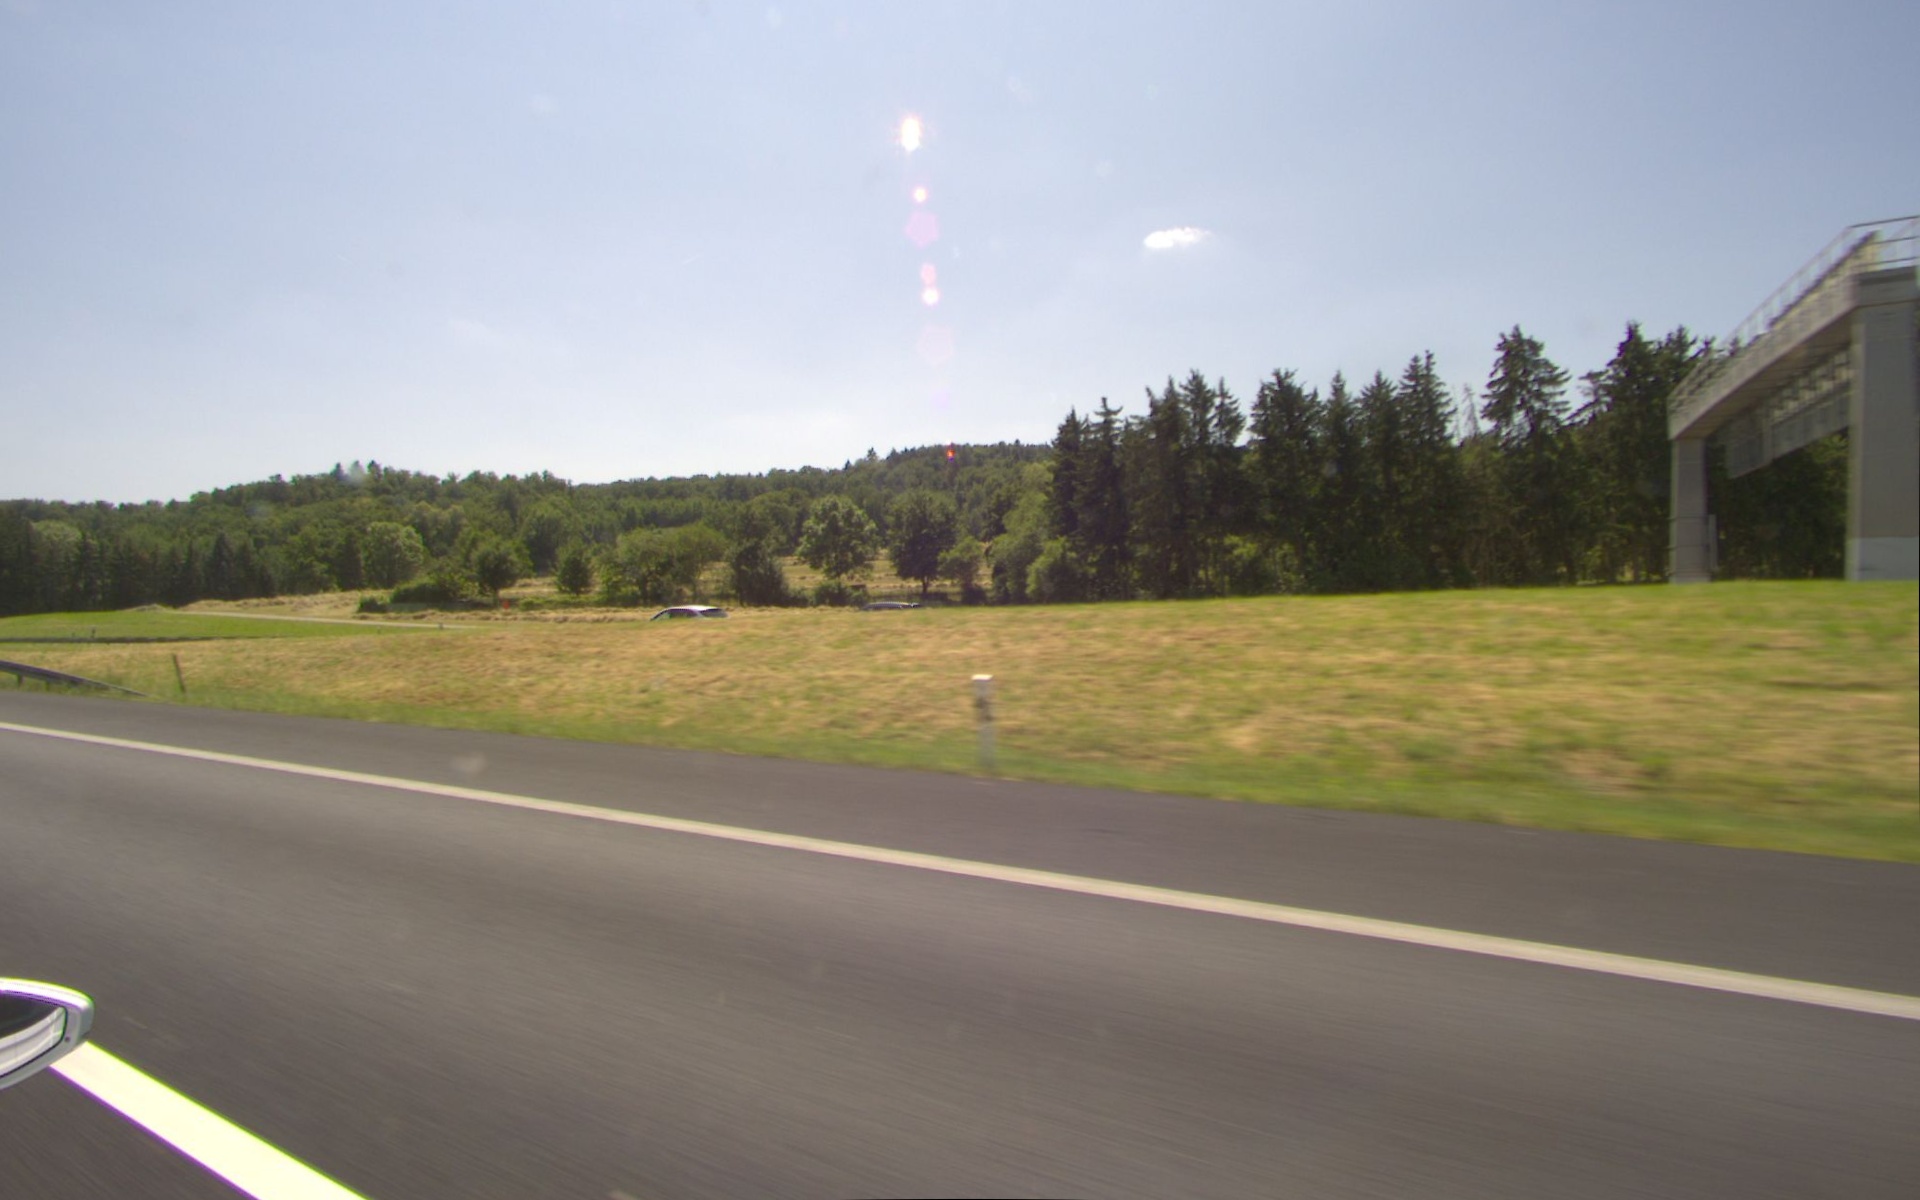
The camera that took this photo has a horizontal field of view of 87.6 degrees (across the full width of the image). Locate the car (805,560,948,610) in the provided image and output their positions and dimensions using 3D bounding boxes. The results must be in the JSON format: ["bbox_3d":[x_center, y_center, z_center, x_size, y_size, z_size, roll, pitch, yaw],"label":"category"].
[{"bbox_3d":[-3.338,-0.539,39.588,5.543,1.683,1.992,-1,-2,30],"label":"car"}]

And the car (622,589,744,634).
[{"bbox_3d":[-10.948,0.502,39.578,4.393,1.683,1.995,-1,-2,23],"label":"car"}]
